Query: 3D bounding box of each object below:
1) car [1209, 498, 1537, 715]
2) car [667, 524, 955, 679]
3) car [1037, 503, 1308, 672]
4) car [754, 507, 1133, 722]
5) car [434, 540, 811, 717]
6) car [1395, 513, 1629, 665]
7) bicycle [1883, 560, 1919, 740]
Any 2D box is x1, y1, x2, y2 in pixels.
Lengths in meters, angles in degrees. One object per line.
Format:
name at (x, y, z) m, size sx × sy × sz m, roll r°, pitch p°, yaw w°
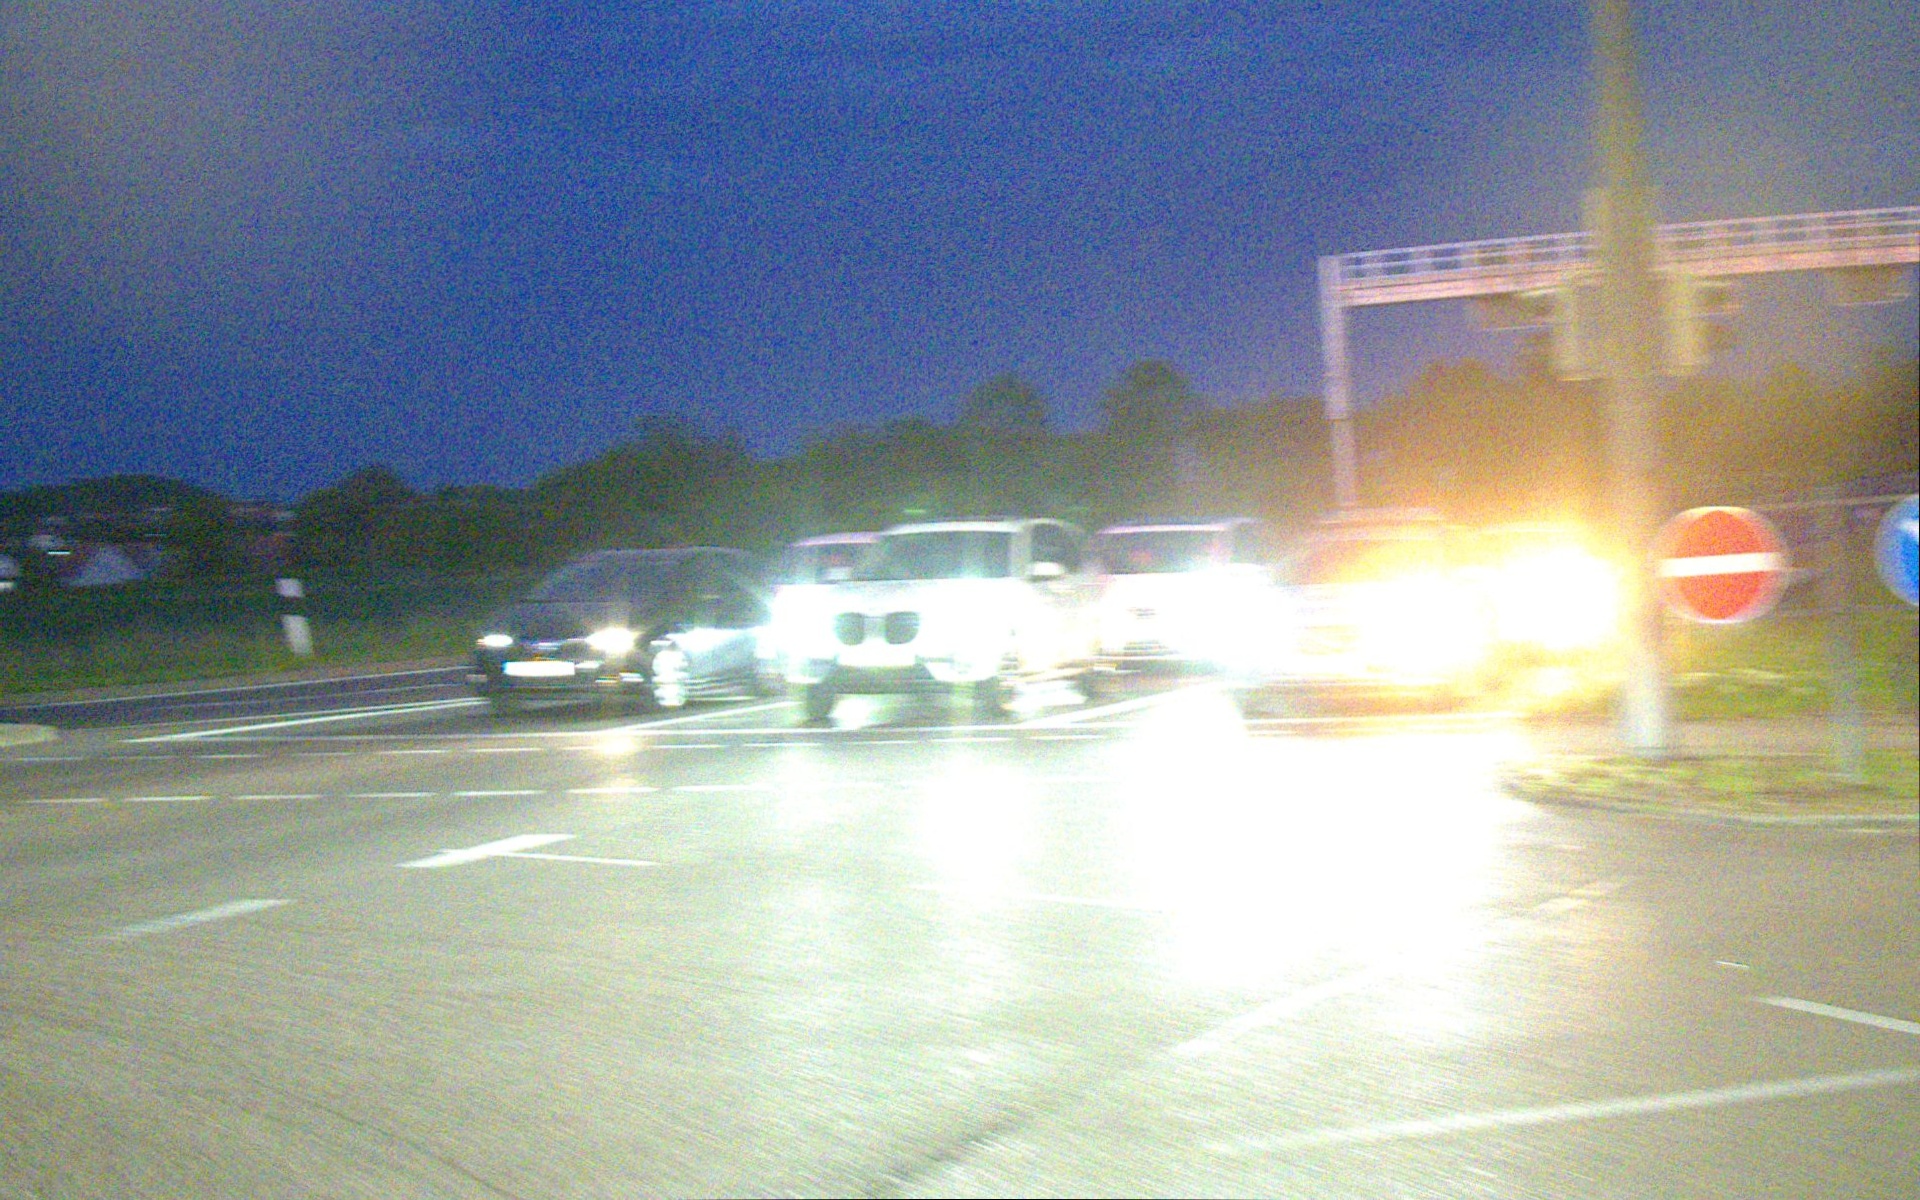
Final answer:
car at (3.583, -0.003, 29.063) m, size 1.853 × 1.627 × 4.581 m, roll -1°, pitch 2°, yaw 18°
car at (-1.578, -0.023, 38.035) m, size 1.833 × 1.519 × 3.997 m, roll -2°, pitch 1°, yaw 18°
car at (2.335, -0.172, 36.659) m, size 1.747 × 1.621 × 4.359 m, roll -1°, pitch 2°, yaw 19°
car at (-0.045, 0.071, 29.885) m, size 1.910 × 1.676 × 4.416 m, roll -1°, pitch 2°, yaw 19°
car at (-3.047, 0.222, 32.005) m, size 1.782 × 1.441 × 4.287 m, roll -1°, pitch 2°, yaw 20°
car at (5.871, -0.150, 36.235) m, size 1.775 × 1.476 × 3.906 m, roll -1°, pitch 1°, yaw 19°
bicycle at (6.819, 0.281, 21.317) m, size 2.062 × 1.097 × 0.695 m, roll -2°, pitch 1°, yaw 13°
